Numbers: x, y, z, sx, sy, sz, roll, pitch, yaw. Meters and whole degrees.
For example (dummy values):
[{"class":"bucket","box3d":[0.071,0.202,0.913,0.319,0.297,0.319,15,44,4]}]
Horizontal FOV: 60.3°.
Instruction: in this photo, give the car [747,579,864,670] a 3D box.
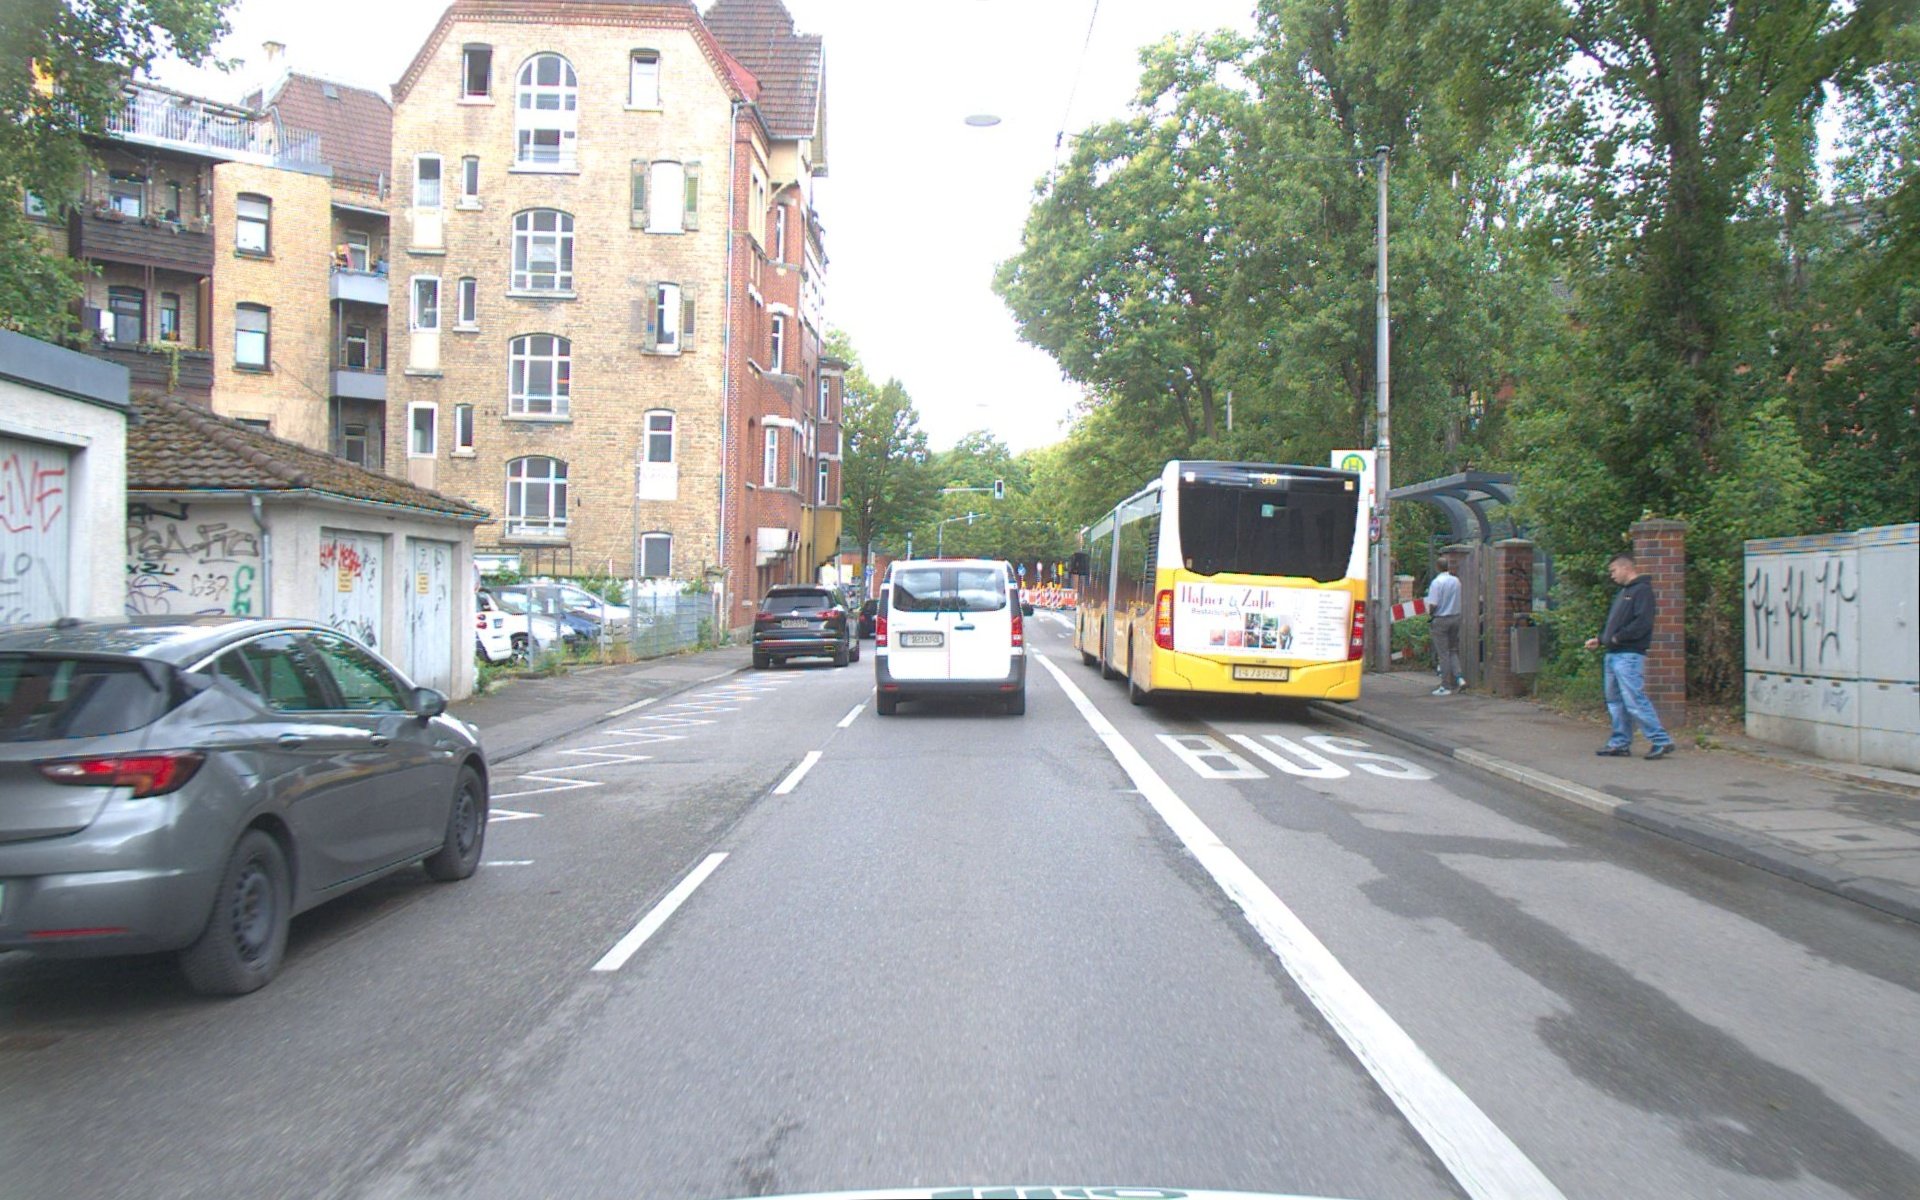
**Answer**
[{"class":"car","box3d":[-3.173,0.443,34.815,1.913,1.764,4.774,1,1,1]}]

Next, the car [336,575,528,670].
[{"class":"car","box3d":[-9.387,0.383,29.582,2.788,1.592,1.853,-1,0,1]}]

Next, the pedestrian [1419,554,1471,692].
[{"class":"pedestrian","box3d":[6.515,0.303,22.254,0.441,1.810,0.672,-2,0,0]}]

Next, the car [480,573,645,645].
[{"class":"car","box3d":[-9.570,0.211,39.986,3.521,1.640,1.689,-1,0,1]}]

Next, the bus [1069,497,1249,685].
[{"class":"bus","box3d":[3.798,-0.184,33.642,2.617,3.193,9.219,2,0,1]}]

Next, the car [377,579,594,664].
[{"class":"car","box3d":[-9.192,0.402,32.220,3.646,1.531,1.853,-1,0,1]}]

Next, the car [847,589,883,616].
[{"class":"car","box3d":[-6.072,0.149,105.719,1.998,1.511,4.384,1,2,-7]}]

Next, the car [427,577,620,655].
[{"class":"car","box3d":[-9.141,0.323,34.828,3.521,1.531,1.853,-1,0,1]}]

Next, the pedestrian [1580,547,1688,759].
[{"class":"pedestrian","box3d":[5.980,0.458,14.704,0.570,1.810,0.821,2,0,0]}]

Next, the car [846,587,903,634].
[{"class":"car","box3d":[-3.140,0.360,61.341,1.689,1.511,4.392,1,2,2]}]

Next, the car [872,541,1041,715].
[{"class":"car","box3d":[-0.078,0.392,21.661,1.878,1.935,4.700,3,-2,-1]}]

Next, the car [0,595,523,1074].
[{"class":"car","box3d":[-3.549,0.788,7.667,1.839,1.512,4.128,2,1,1]}]

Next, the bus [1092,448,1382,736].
[{"class":"bus","box3d":[3.580,-0.126,24.009,2.608,3.190,10.041,2,0,1]}]
